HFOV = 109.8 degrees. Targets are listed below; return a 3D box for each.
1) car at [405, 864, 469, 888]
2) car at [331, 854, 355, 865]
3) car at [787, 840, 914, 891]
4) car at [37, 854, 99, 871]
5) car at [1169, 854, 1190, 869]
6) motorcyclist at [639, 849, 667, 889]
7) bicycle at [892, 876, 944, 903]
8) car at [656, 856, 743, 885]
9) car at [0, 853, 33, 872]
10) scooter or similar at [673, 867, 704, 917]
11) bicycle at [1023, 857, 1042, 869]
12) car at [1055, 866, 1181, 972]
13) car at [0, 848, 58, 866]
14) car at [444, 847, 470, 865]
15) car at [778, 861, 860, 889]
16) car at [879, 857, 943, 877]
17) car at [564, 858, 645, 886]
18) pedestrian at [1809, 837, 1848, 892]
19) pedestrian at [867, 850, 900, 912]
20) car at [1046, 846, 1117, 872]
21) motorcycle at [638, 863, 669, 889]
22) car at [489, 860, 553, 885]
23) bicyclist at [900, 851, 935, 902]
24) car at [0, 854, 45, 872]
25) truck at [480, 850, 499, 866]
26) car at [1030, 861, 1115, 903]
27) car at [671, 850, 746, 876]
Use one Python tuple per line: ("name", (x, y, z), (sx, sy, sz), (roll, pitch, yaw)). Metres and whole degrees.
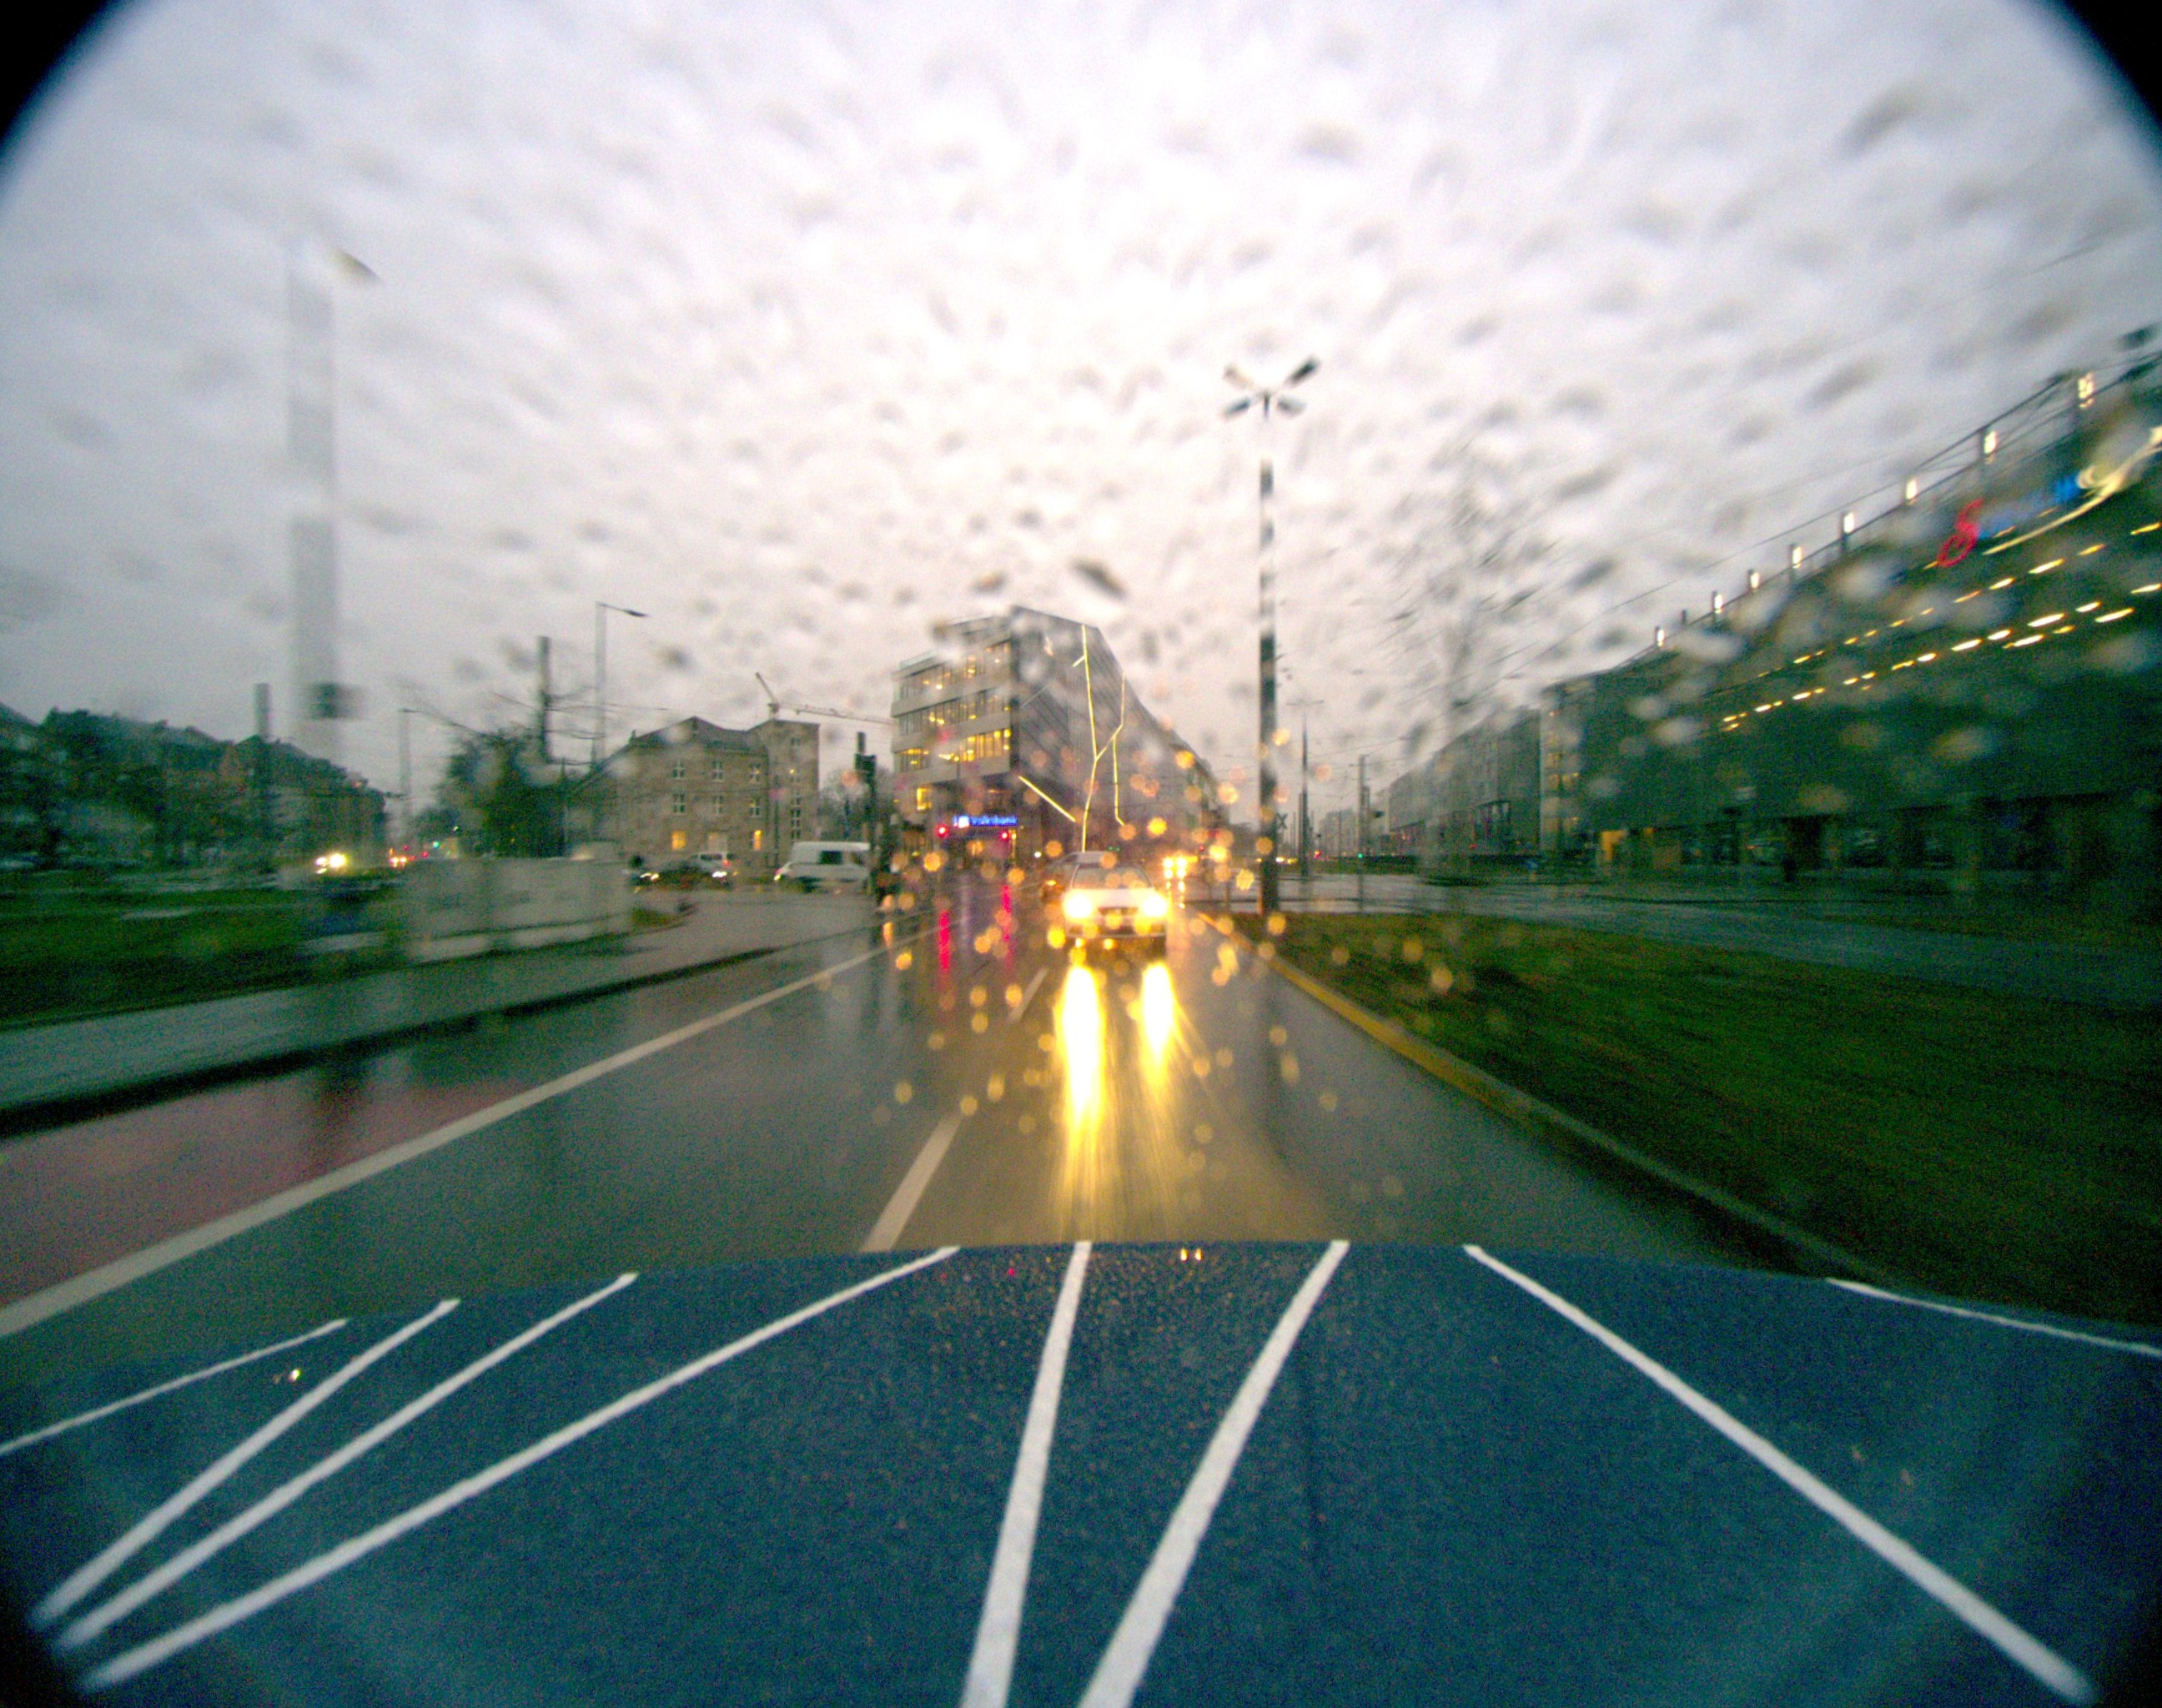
("car", (-42.212, 1.402, 49.795), (4.159, 1.466, 1.881), (0, 1, 30))
("car", (-91.349, 0.628, 94.124), (1.756, 1.362, 3.604), (0, 0, -38))
("car", (-11.398, 0.517, 37.666), (5.658, 2.449, 2.246), (0, 1, 16))
("car", (-91.512, 0.749, 68.647), (1.424, 1.420, 3.193), (0, 0, 29))
("car", (11.238, 0.789, 86.216), (1.830, 1.652, 4.005), (0, 0, 15))
("motorcyclist", (-20.359, 0.694, 36.173), (0.919, 1.871, 0.888), (0, 1, 41))
("bicycle", (-6.117, 1.320, 28.507), (1.862, 0.968, 0.658), (0, 0, 22))
("car", (-21.898, 0.927, 43.652), (4.353, 1.561, 1.829), (0, 0, 15))
("car", (-78.806, 0.642, 54.726), (1.613, 1.362, 3.621), (0, 0, 25))
("scooter or similar", (-9.977, 0.938, 19.343), (0.334, 1.199, 1.307), (0, 0, -11))
("bicycle", (-4.449, 0.791, 69.719), (1.598, 1.064, 0.643), (-1, 0, 16))
("car", (0.538, 0.978, 13.107), (1.788, 1.370, 4.222), (-2, 1, 0))
("car", (-82.536, 0.198, 58.824), (1.614, 1.362, 3.620), (0, 0, 19))
("car", (-71.497, 0.205, 87.022), (1.909, 1.861, 4.948), (-2, 2, -43))
("car", (-14.462, 1.125, 42.055), (3.911, 1.455, 1.765), (0, 2, 11))
("car", (-12.575, 0.971, 56.260), (4.414, 1.436, 1.631), (0, 0, 18))
("car", (-28.451, 1.051, 45.368), (4.214, 1.590, 1.679), (0, 0, 15))
("pedestrian", (40.112, 0.533, 40.797), (1.111, 2.909, 0.967), (1, 2, 16))
("pedestrian", (-6.038, 0.816, 23.219), (0.777, 1.866, 0.633), (0, 1, -45))
("car", (0.028, 0.339, 52.757), (4.598, 1.709, 1.933), (0, 0, 26))
("motorcycle", (-20.441, 1.034, 36.308), (2.402, 1.176, 0.485), (0, 0, 40))
("car", (-34.697, 1.103, 47.094), (3.338, 1.422, 1.693), (0, 1, 23))
("bicyclist", (-6.144, 0.842, 28.607), (0.987, 1.879, 0.794), (0, 1, 22))
("car", (-80.565, 0.678, 56.692), (1.613, 1.362, 3.621), (0, 0, 25))
("truck", (-75.960, 0.554, 97.605), (1.842, 2.032, 3.989), (0, 0, -37))
("car", (-0.392, 0.995, 28.410), (1.727, 1.380, 3.813), (0, 1, -26))
("car", (-29.496, 0.681, 60.136), (5.648, 2.047, 1.956), (0, 0, 21))
